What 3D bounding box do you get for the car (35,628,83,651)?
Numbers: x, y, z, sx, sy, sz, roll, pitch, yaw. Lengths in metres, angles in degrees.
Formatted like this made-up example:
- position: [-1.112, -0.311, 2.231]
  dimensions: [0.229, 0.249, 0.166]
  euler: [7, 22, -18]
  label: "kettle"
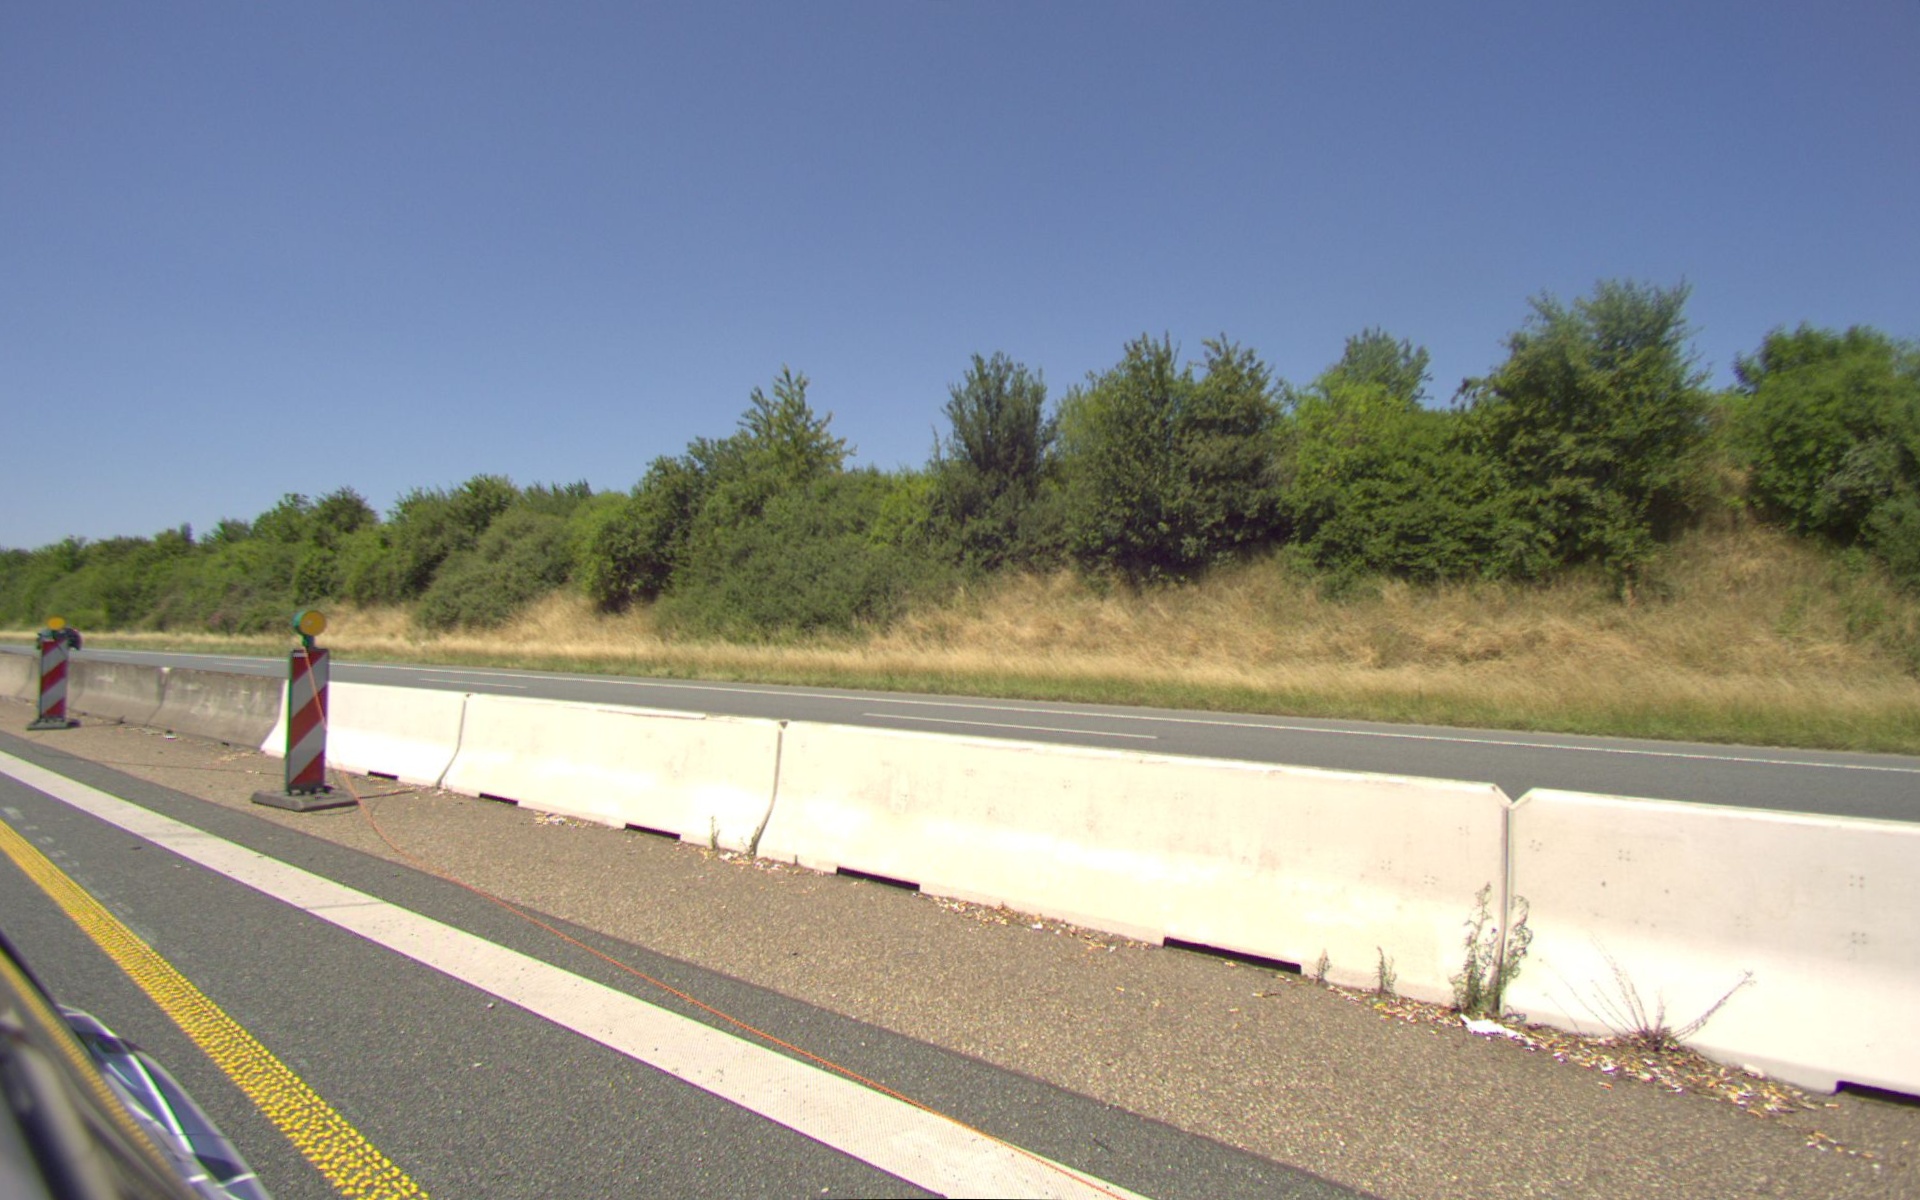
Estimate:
- position: [-56.352, 2.472, 63.288]
  dimensions: [3.510, 1.364, 1.749]
  euler: [-1, -2, 40]
  label: "car"
